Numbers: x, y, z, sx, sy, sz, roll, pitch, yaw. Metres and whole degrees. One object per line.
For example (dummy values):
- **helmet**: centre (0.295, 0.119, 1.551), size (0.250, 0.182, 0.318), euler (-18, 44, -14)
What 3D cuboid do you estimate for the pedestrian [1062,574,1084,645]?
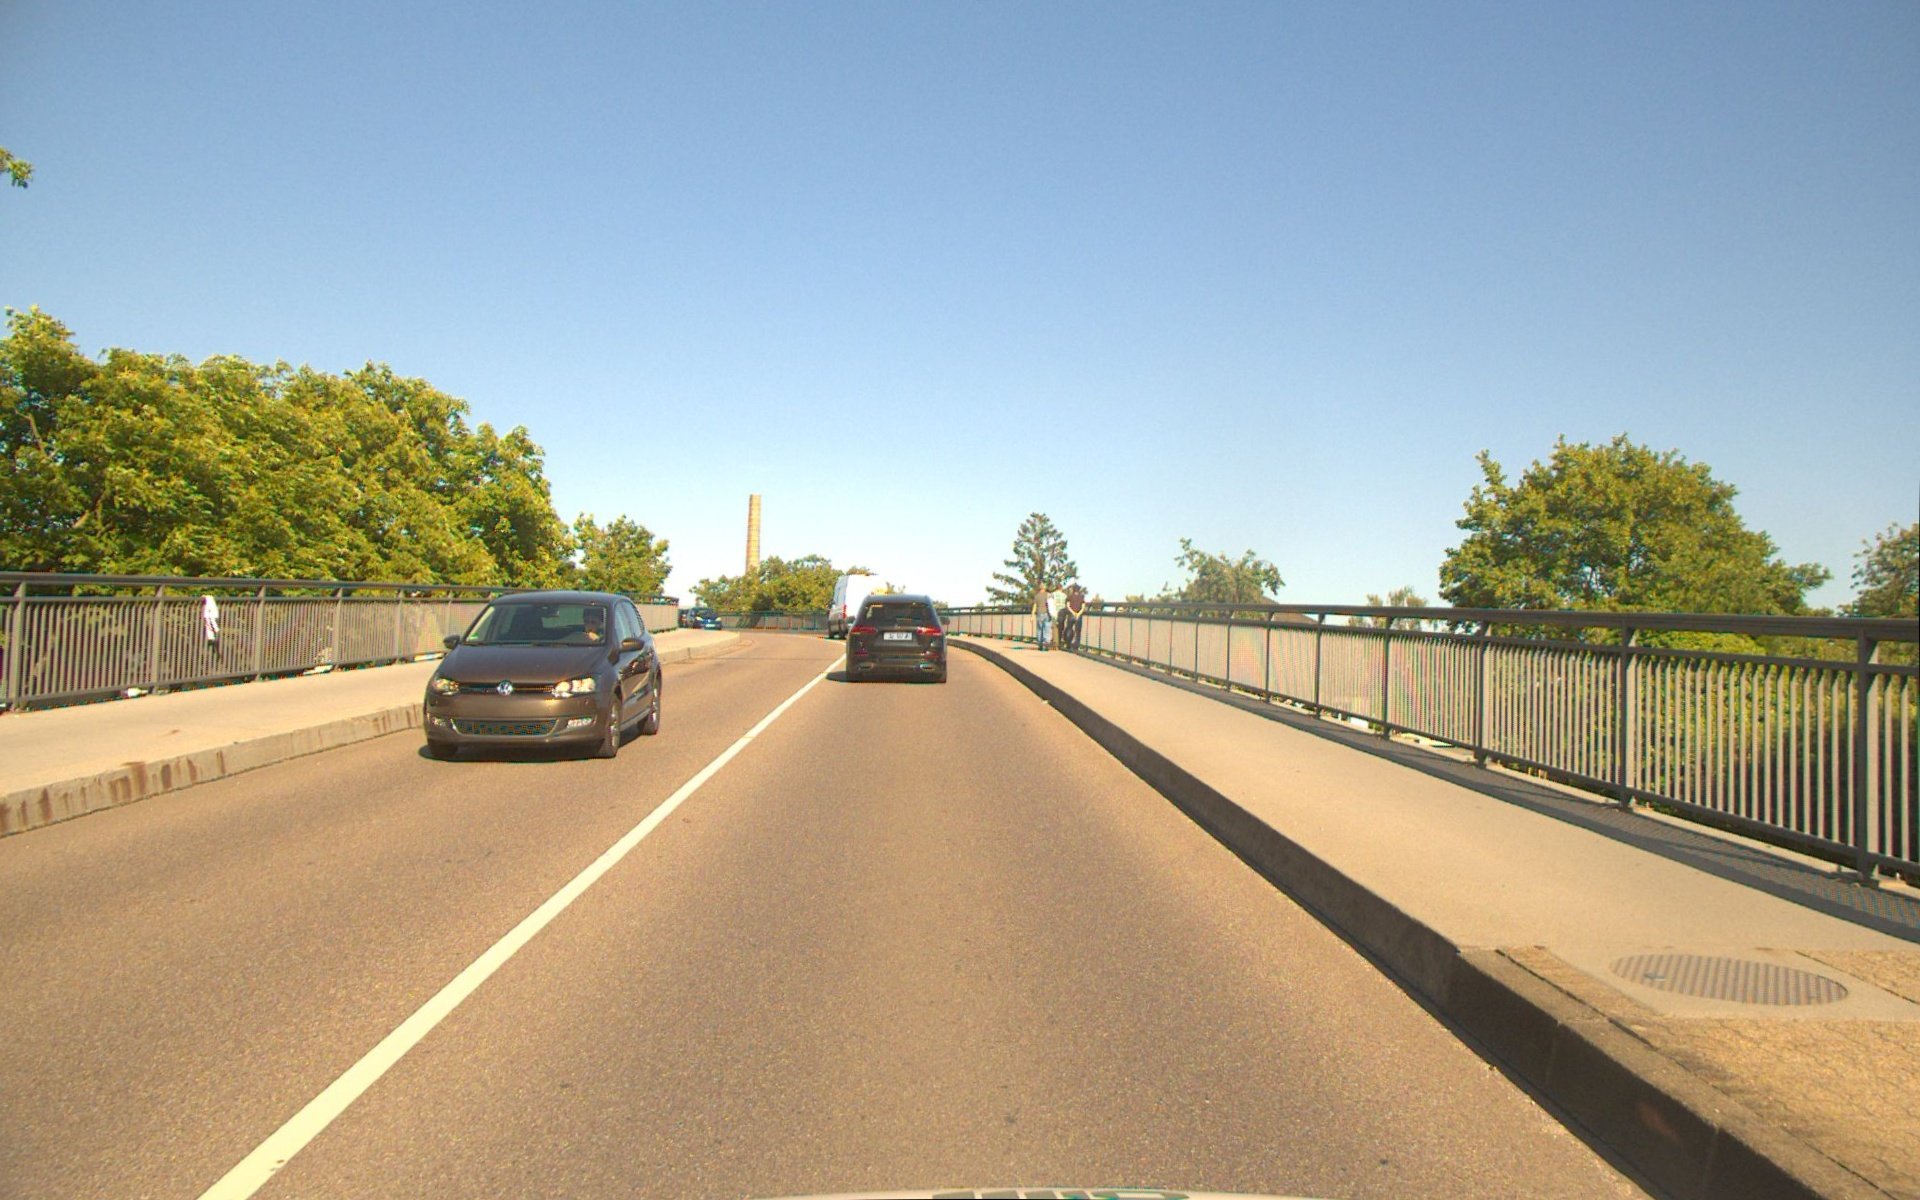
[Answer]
- **pedestrian**: centre (2.881, 0.256, 42.227), size (0.462, 1.781, 0.653), euler (2, -2, -2)

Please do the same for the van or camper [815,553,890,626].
- **van or camper**: centre (-4.712, -0.390, 71.466), size (2.187, 2.787, 7.058), euler (2, -2, -11)

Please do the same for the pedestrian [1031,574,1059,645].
- **pedestrian**: centre (2.163, 0.253, 42.072), size (0.590, 1.781, 0.716), euler (2, -2, -2)

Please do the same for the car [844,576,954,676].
- **car**: centre (-1.166, 0.443, 29.909), size (1.735, 1.620, 3.985), euler (2, 0, -5)

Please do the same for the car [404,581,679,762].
- **car**: centre (-3.821, 0.599, 15.768), size (1.734, 1.500, 3.987), euler (0, 0, -2)

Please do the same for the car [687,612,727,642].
- **car**: centre (-14.602, 1.559, 95.606), size (1.734, 1.620, 3.987), euler (2, 0, -2)

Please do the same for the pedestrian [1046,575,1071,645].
- **pedestrian**: centre (2.565, 0.274, 42.932), size (0.538, 1.781, 0.738), euler (2, -2, -2)
